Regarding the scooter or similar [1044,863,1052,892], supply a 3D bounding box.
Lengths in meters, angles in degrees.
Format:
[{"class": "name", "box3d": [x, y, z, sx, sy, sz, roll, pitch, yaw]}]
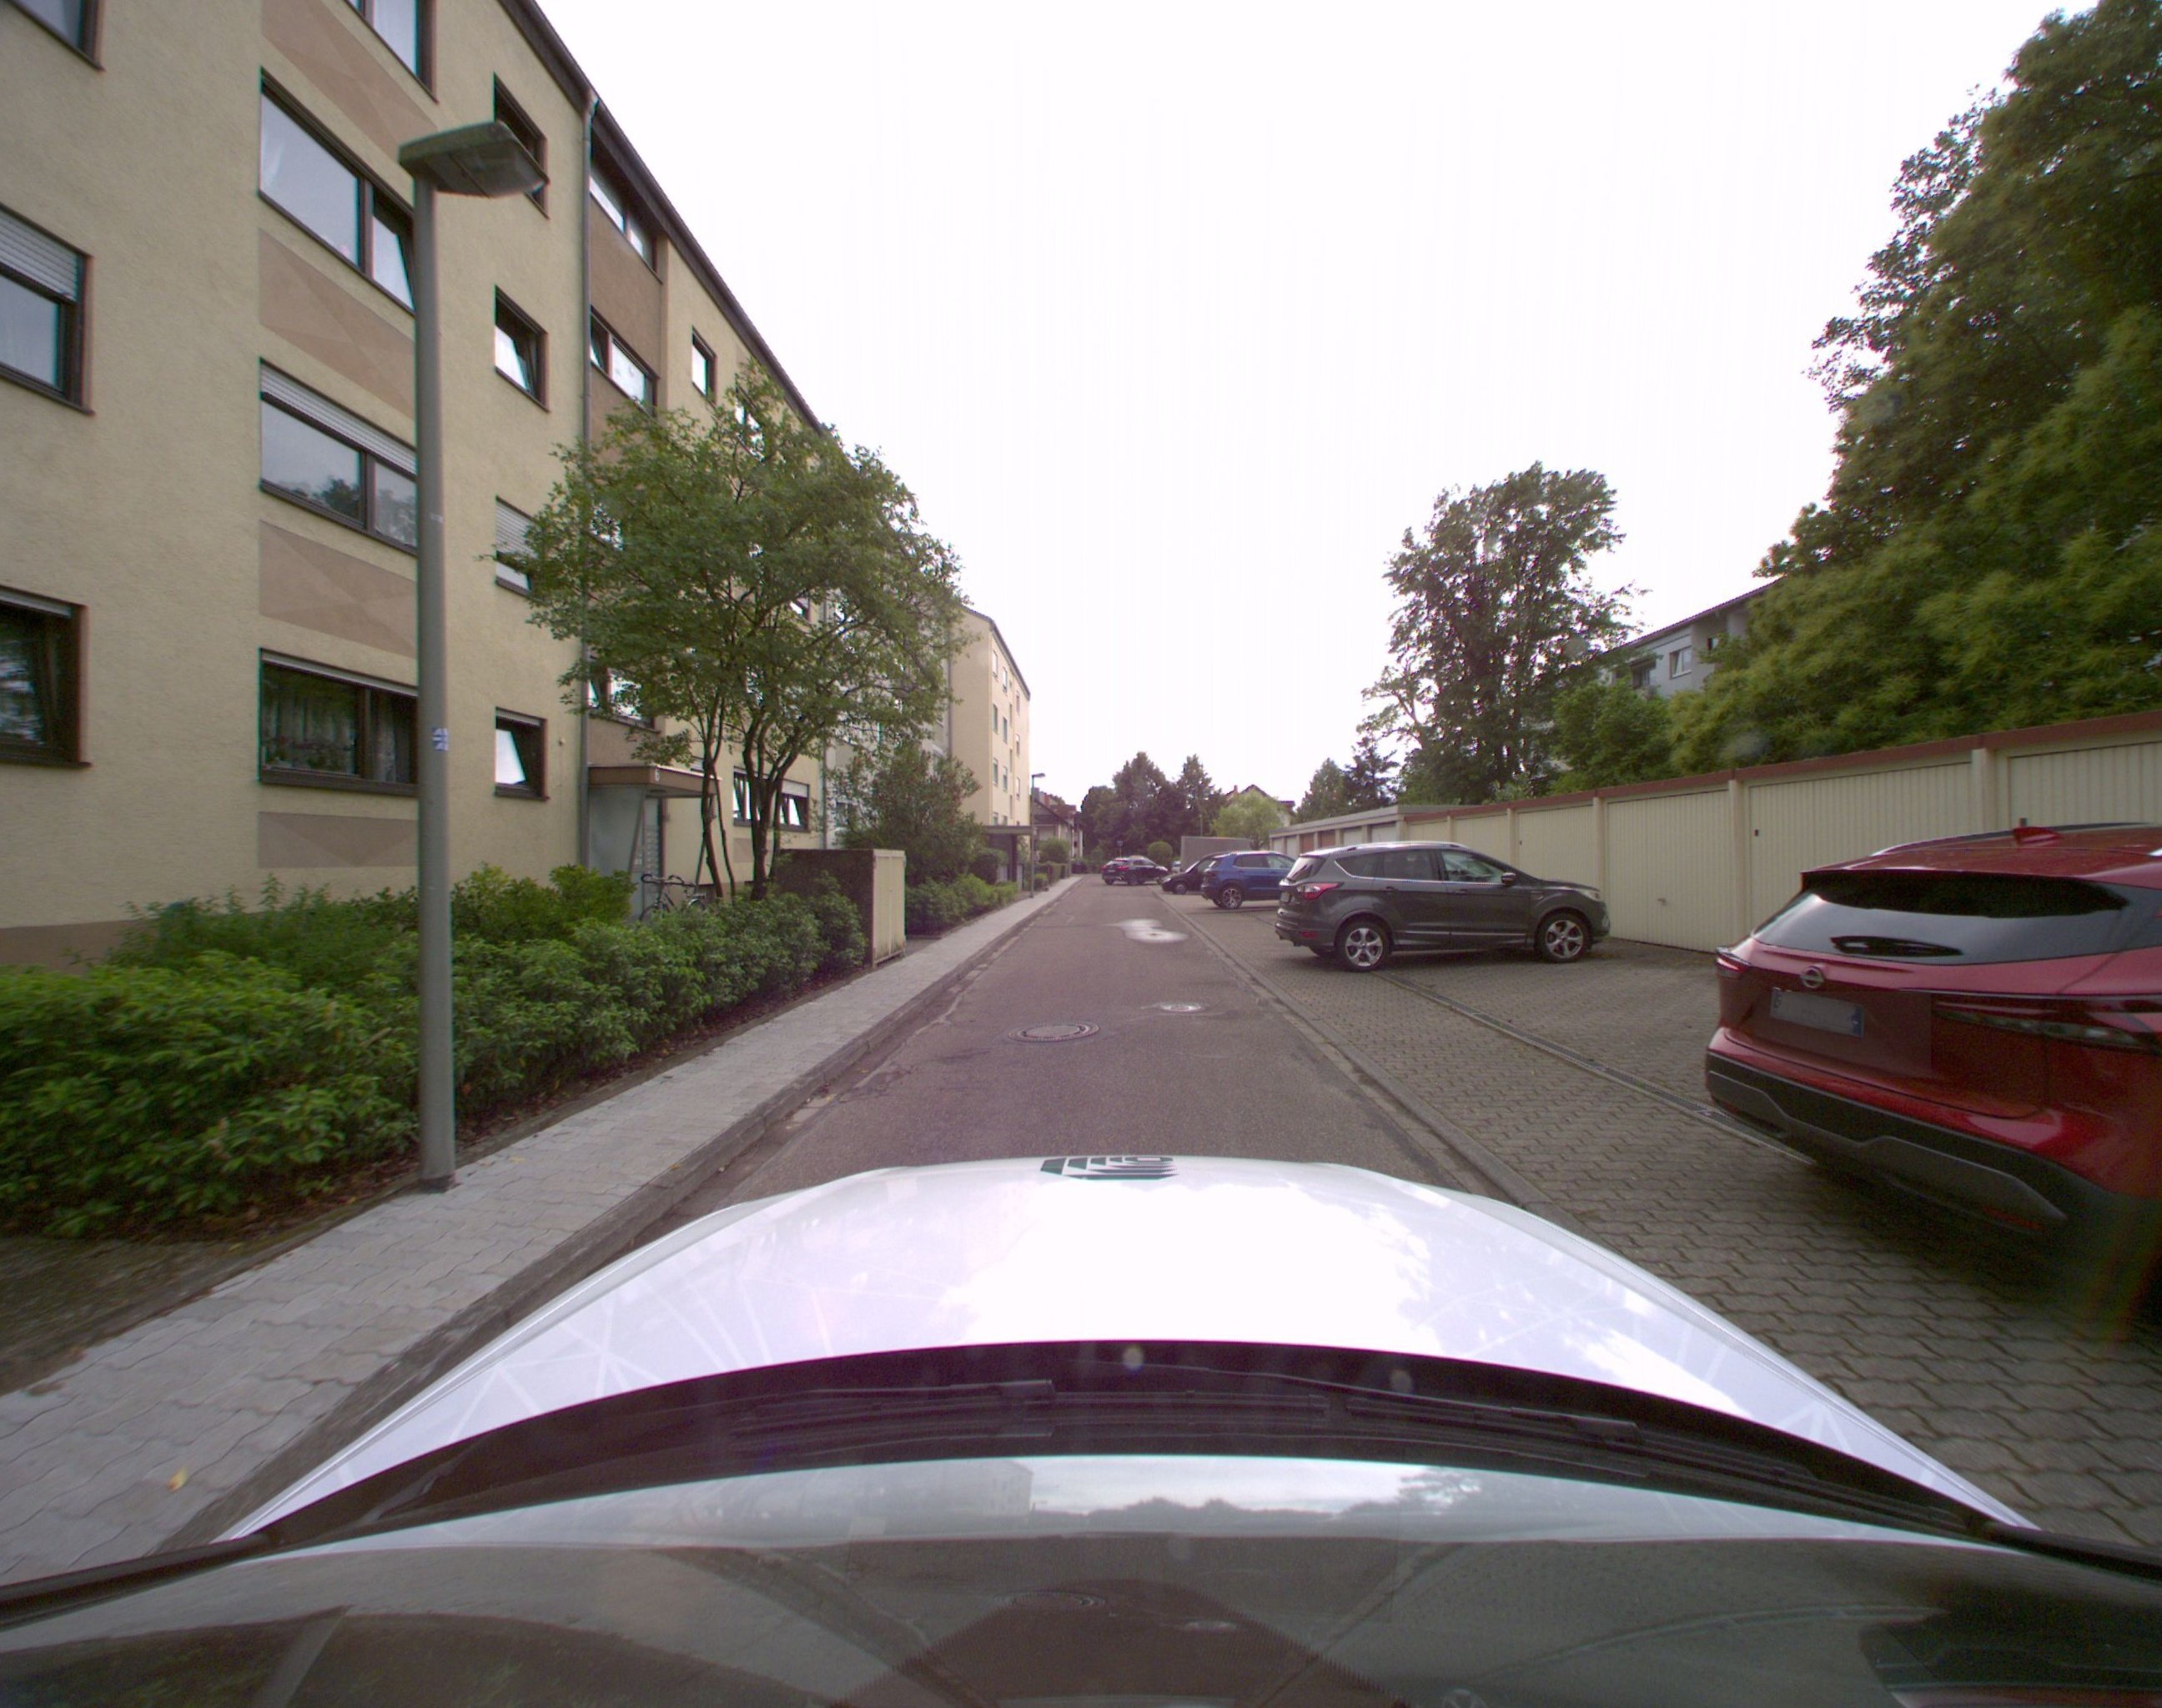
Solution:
[{"class": "scooter or similar", "box3d": [-1.437, 1.009, 35.648, 0.272, 1.211, 1.165, -1, 0, 1]}]

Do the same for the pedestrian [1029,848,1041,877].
[{"class": "pedestrian", "box3d": [-2.790, 0.522, 49.072, 0.677, 1.749, 0.756, 1, -1, 0]}]

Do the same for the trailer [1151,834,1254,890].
[{"class": "trailer", "box3d": [5.570, 0.367, 37.785, 4.591, 2.525, 1.943, 0, 0, 2]}]

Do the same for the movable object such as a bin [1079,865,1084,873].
[{"class": "movable object such as a bin", "box3d": [0.060, 1.401, 75.597, 0.458, 0.797, 0.379, 1, -1, -1]}]

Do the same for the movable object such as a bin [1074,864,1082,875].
[{"class": "movable object such as a bin", "box3d": [-0.283, 1.418, 73.632, 0.636, 0.953, 0.723, 1, -1, 1]}]

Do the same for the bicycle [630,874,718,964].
[{"class": "bicycle", "box3d": [-5.518, 0.841, 11.139, 0.314, 1.051, 1.691, -1, 1, 0]}]

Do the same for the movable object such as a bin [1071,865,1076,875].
[{"class": "movable object such as a bin", "box3d": [-0.705, 1.474, 75.234, 0.384, 0.890, 0.379, 1, -1, -1]}]

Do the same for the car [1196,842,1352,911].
[{"class": "car", "box3d": [5.419, 0.612, 23.288, 3.973, 1.703, 2.000, -3, 0, 1]}]

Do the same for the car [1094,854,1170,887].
[{"class": "car", "box3d": [2.836, 0.892, 44.454, 1.975, 1.552, 4.024, -3, 0, 43]}]

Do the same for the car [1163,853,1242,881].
[{"class": "car", "box3d": [7.174, 0.759, 48.472, 4.517, 1.588, 1.990, -1, 0, 3]}]

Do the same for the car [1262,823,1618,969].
[{"class": "car", "box3d": [4.912, 0.549, 11.652, 4.180, 1.727, 2.000, -3, 0, 1]}]

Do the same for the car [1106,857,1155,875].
[{"class": "car", "box3d": [4.339, 1.026, 71.727, 4.222, 1.531, 1.747, 0, -2, 1]}]

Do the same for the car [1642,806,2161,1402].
[{"class": "car", "box3d": [4.991, 0.574, 3.147, 4.273, 1.586, 1.935, -3, 0, 0]}]

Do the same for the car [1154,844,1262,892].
[{"class": "car", "box3d": [5.415, 0.588, 35.194, 4.295, 1.802, 2.000, -3, 0, 1]}]

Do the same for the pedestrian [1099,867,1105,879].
[{"class": "pedestrian", "box3d": [2.788, 2.568, 109.447, 0.812, 1.517, 0.438, -1, -1, -1]}]

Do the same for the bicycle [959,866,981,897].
[{"class": "bicycle", "box3d": [-3.951, 0.964, 29.096, 0.451, 1.034, 1.548, 2, 0, 3]}]
